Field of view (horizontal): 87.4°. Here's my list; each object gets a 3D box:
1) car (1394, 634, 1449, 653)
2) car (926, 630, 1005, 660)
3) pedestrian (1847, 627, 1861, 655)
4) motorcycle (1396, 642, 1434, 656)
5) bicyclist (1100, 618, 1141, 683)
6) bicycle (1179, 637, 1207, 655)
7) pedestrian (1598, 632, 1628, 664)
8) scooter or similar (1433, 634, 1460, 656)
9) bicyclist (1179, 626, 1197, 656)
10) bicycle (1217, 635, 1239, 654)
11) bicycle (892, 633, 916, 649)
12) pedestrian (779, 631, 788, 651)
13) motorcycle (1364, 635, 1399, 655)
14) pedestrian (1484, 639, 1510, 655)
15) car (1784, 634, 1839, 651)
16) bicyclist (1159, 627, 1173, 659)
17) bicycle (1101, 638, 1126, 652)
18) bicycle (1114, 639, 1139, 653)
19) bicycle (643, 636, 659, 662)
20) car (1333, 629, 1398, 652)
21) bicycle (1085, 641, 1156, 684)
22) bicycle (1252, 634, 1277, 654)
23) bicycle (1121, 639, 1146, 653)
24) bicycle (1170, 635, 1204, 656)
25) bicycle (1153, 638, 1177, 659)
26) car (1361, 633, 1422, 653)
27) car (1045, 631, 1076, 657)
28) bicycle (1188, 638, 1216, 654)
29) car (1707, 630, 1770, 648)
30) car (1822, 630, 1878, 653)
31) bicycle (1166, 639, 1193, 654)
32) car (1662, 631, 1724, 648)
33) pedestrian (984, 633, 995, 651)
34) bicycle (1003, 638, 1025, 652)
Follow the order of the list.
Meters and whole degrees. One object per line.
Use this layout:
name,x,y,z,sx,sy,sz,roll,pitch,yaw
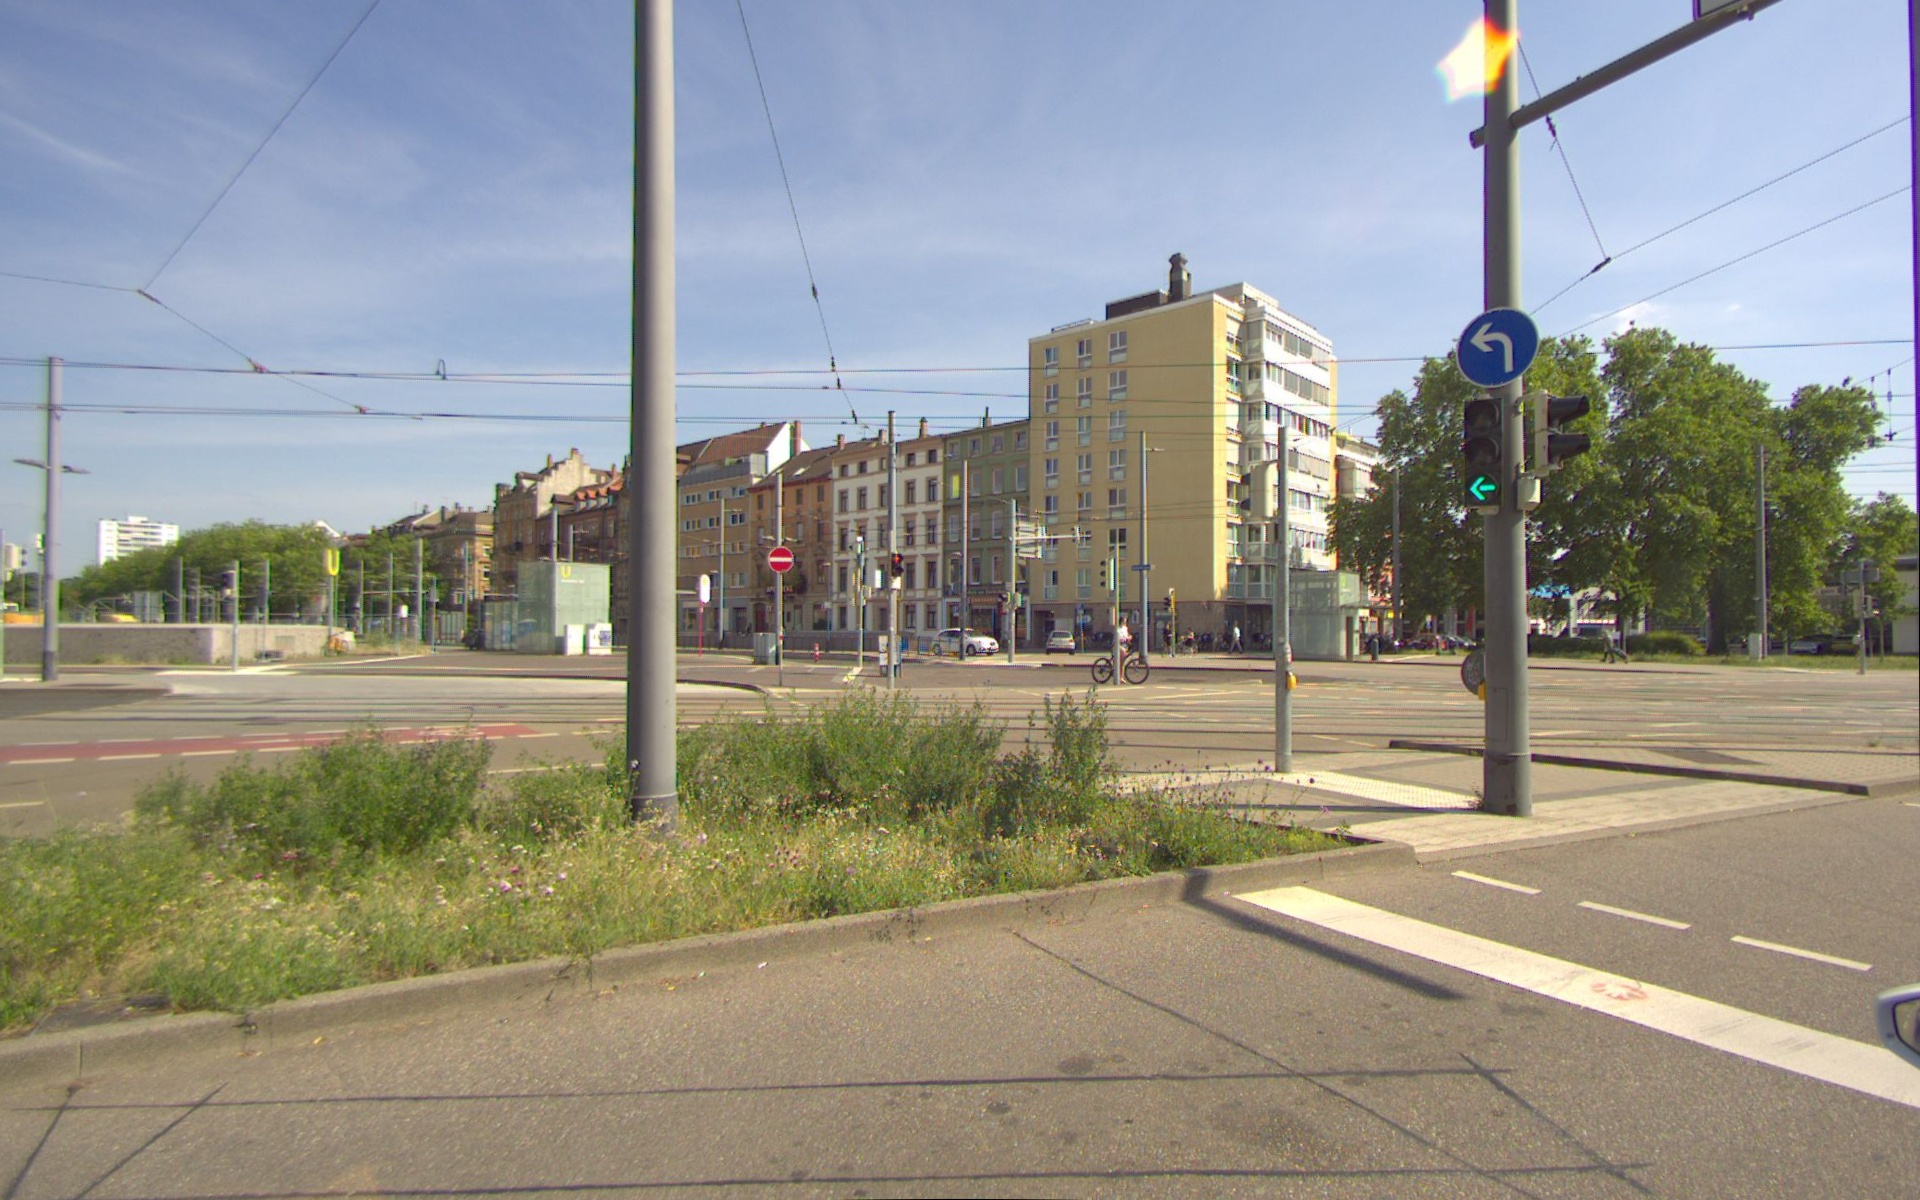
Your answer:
car,37.948,3.557,82.610,3.684,1.358,1.733,2,0,44
car,0.278,2.335,53.267,4.067,1.417,1.749,-1,1,43
pedestrian,53.523,2.445,60.165,0.455,1.617,0.393,2,0,-6
motorcycle,27.450,2.938,60.643,1.997,0.853,0.641,0,-1,4
bicyclist,4.291,1.358,26.877,0.745,1.706,0.768,2,-4,-41
bicycle,14.985,2.953,64.629,0.578,1.100,1.740,-2,0,-34
pedestrian,30.923,2.271,47.575,1.100,1.422,0.654,2,0,39
scooter or similar,26.242,2.415,54.216,0.509,1.134,1.358,1,-2,-19
bicyclist,12.175,2.202,53.739,0.606,1.593,0.727,2,-3,-29
bicycle,17.468,2.893,65.422,0.534,1.201,1.878,-1,-2,45
bicycle,-3.943,2.881,70.823,0.589,1.109,1.738,0,-2,42
pedestrian,-14.636,3.390,83.243,0.518,1.687,0.551,-2,-2,43
motorcycle,23.928,2.556,57.062,0.631,1.076,2.028,1,-2,-22
pedestrian,31.433,2.764,58.816,1.159,0.904,0.818,-1,-2,41
car,69.231,3.481,81.661,3.946,1.261,1.987,2,0,-25
bicyclist,11.259,2.338,54.912,0.575,1.757,0.615,-2,-3,37
bicycle,10.634,3.132,69.672,1.733,0.928,0.580,-2,-2,44
bicycle,11.331,3.146,68.344,0.579,0.928,1.737,0,-2,-39
bicycle,-13.994,2.205,45.447,0.408,1.085,1.651,0,0,-28
car,29.599,2.964,73.373,3.945,1.459,1.880,2,0,44
bicycle,4.289,1.674,26.884,0.745,1.098,1.828,2,-4,-40
bicycle,19.576,2.826,64.521,1.740,1.235,0.578,0,-2,-37
bicycle,11.840,3.164,68.578,0.579,0.928,1.737,0,-2,-39
bicycle,12.155,2.430,53.759,1.775,1.145,0.749,1,-2,-30
bicycle,11.236,2.651,55.079,0.575,1.145,1.790,-2,-3,36
car,32.838,3.260,76.489,3.945,1.287,1.733,2,0,44
car,6.135,2.742,61.691,1.777,1.458,4.004,1,-4,4
bicycle,15.611,2.963,64.856,0.579,1.056,1.736,0,-2,-40
car,69.360,3.460,89.550,1.977,1.572,3.967,1,-2,-31
car,70.713,3.294,79.808,3.946,1.706,1.987,2,0,-25
bicycle,14.416,3.040,65.994,0.579,0.978,1.735,0,-2,-41
car,65.658,3.515,90.018,1.977,1.389,3.968,2,0,-30
pedestrian,2.269,3.273,77.894,0.637,1.392,0.524,-1,-2,43
bicycle,4.068,3.390,75.914,1.755,0.977,0.412,-2,0,42
